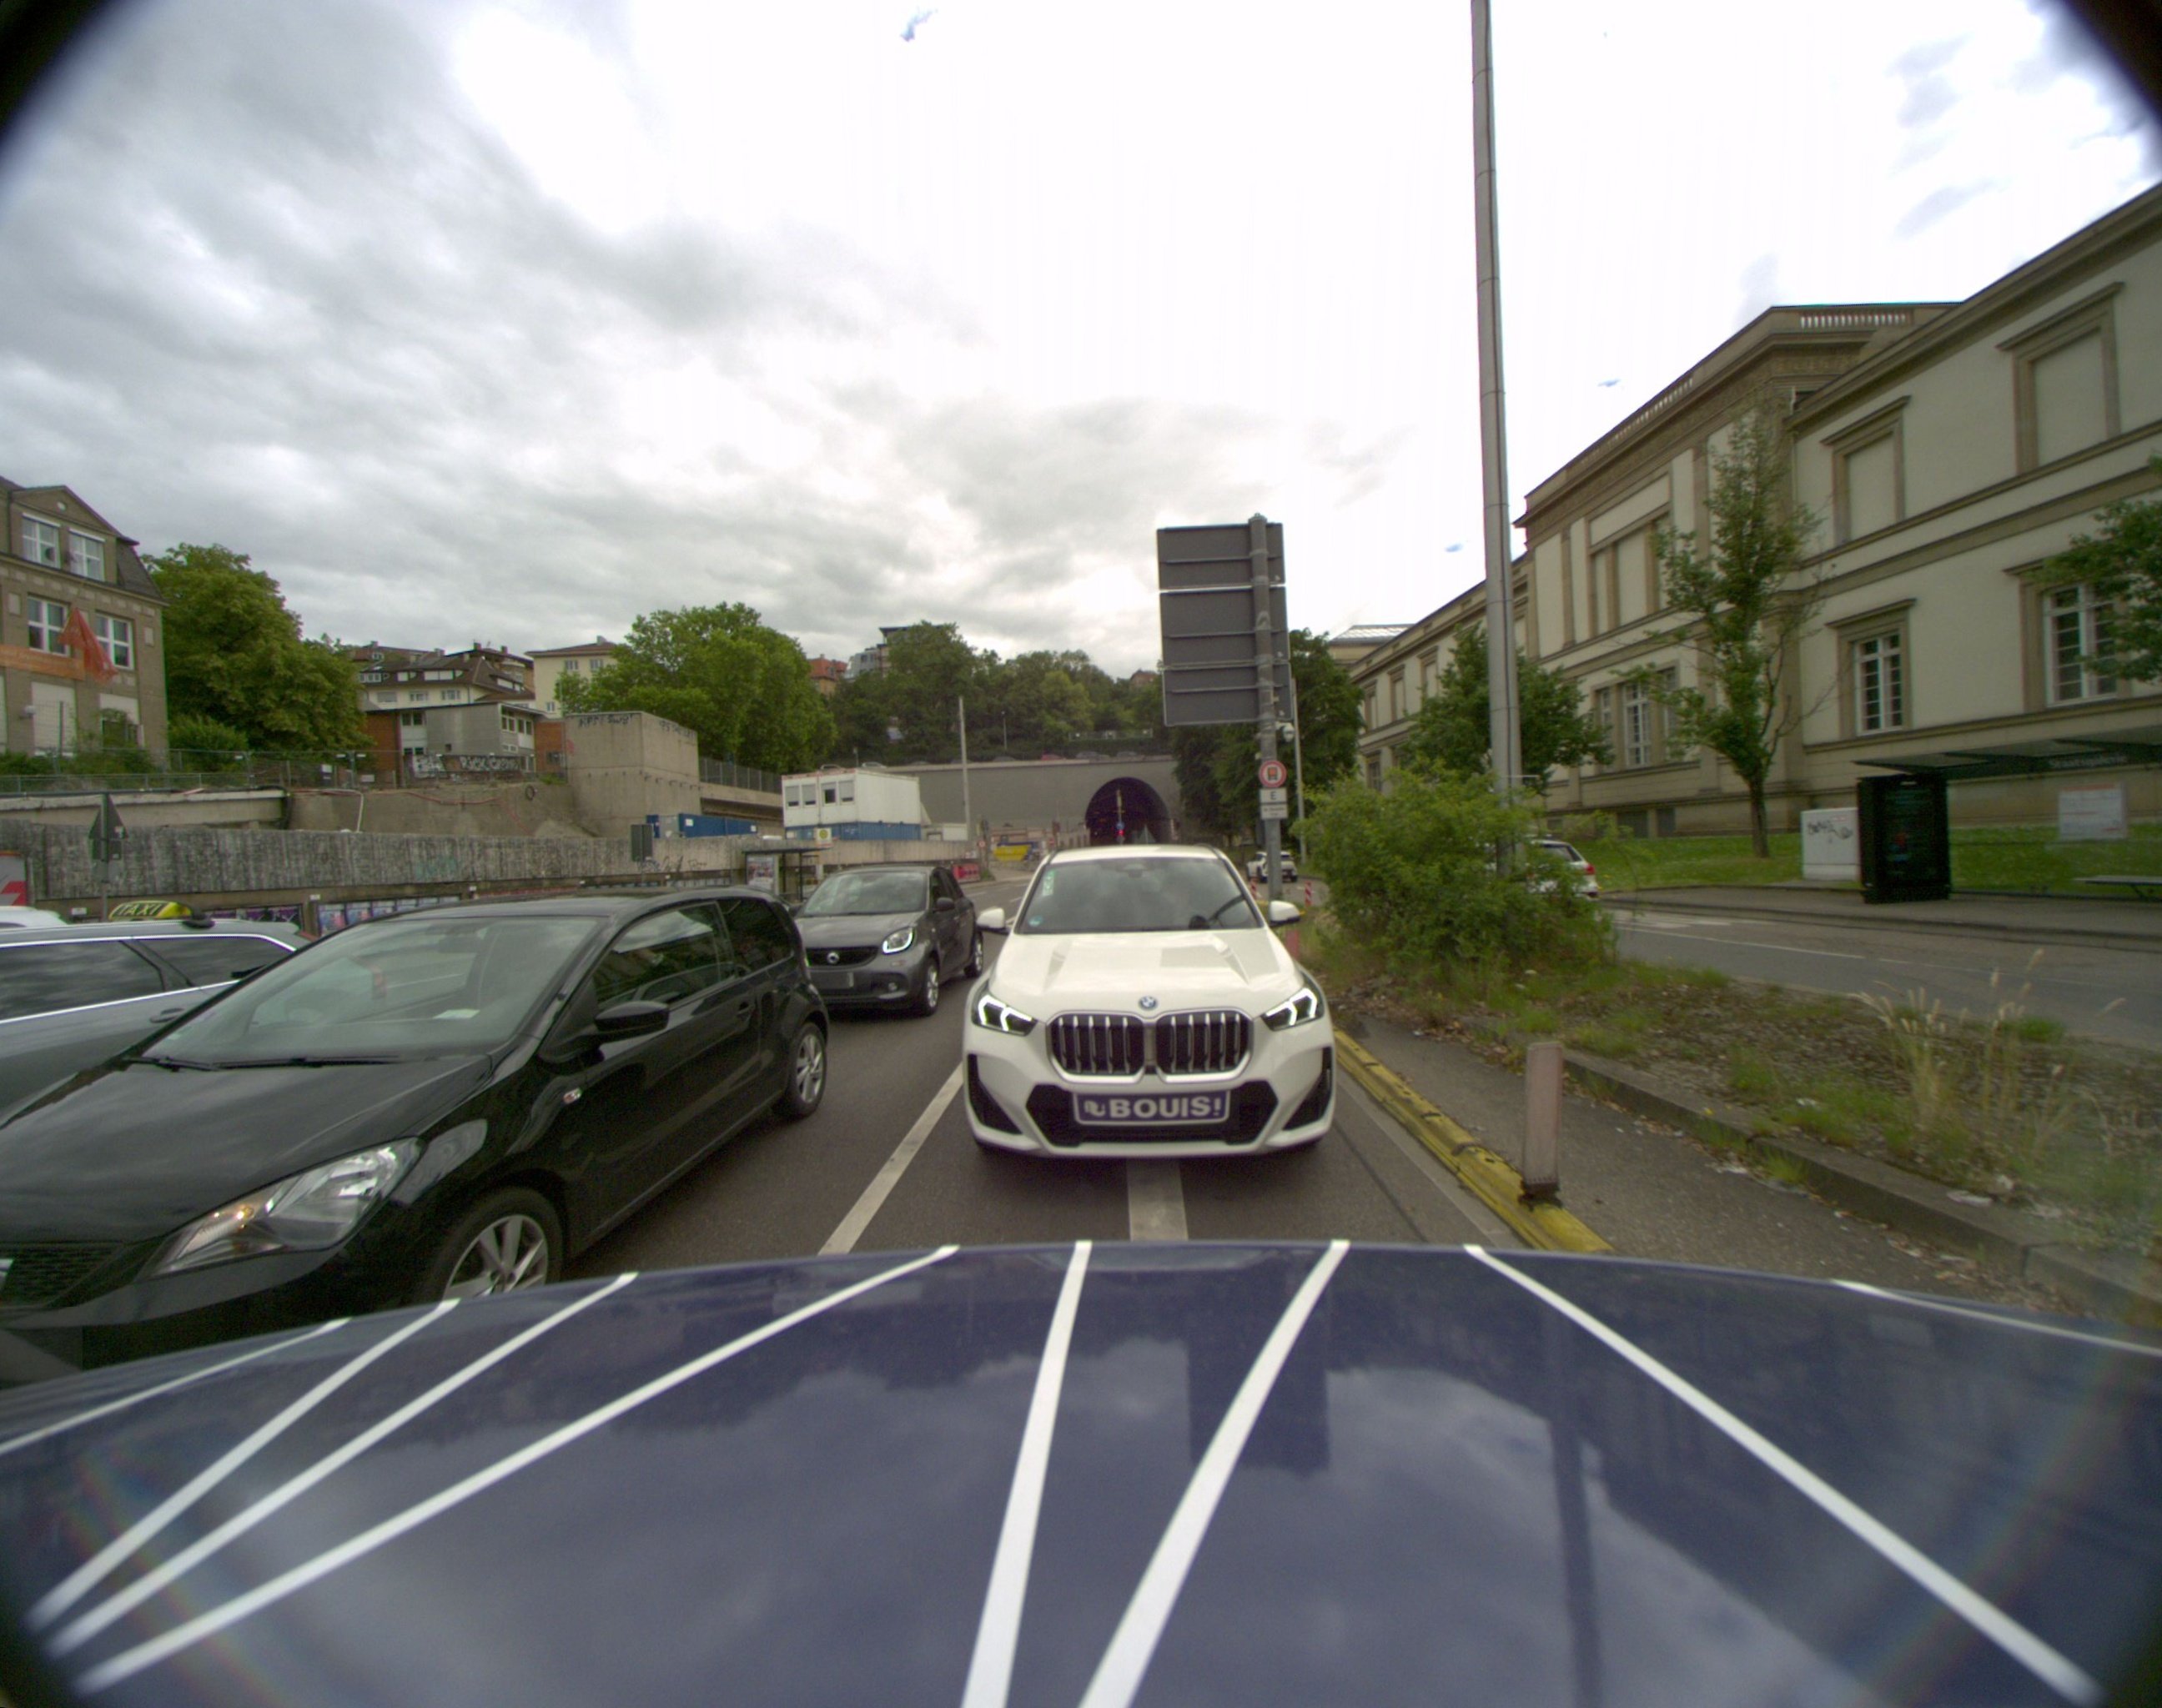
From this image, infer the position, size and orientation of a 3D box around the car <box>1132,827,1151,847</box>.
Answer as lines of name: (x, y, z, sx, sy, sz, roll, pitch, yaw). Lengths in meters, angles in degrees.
car: (7.738, -2.191, 97.863, 2.203, 2.493, 4.758, -2, 1, 2)

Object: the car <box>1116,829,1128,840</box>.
car: (6.884, -3.191, 127.091, 1.946, 1.714, 4.001, -2, 1, 4)

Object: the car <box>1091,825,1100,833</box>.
car: (2.702, -4.622, 143.443, 1.680, 1.358, 3.806, -2, 1, 1)

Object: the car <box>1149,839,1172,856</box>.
car: (7.961, -0.687, 76.219, 1.778, 1.609, 3.802, -2, 1, -1)

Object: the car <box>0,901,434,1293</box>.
car: (-5.854, 1.223, 3.315, 1.829, 1.615, 4.808, -2, 1, 1)

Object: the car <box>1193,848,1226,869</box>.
car: (9.396, 0.327, 55.849, 1.646, 1.469, 3.574, -2, 0, -2)

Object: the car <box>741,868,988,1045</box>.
car: (-2.250, 0.998, 8.903, 1.720, 1.535, 3.575, -2, 0, 2)

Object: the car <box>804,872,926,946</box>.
car: (-4.914, 1.188, 17.824, 1.680, 1.358, 3.806, -2, 1, 1)

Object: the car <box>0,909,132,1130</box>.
car: (-9.104, 1.336, 4.457, 1.680, 1.615, 4.209, -2, 1, 1)

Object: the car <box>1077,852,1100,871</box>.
car: (0.660, 0.573, 61.698, 1.680, 1.450, 3.807, -2, 1, 3)

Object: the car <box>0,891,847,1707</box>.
car: (-2.569, 1.033, 3.354, 1.829, 1.450, 3.700, -2, 1, 1)

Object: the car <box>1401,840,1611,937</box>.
car: (8.195, 0.603, 15.170, 1.903, 1.615, 4.108, -2, 0, 1)

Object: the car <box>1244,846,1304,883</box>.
car: (9.666, 0.484, 38.399, 1.875, 1.681, 4.267, -2, 1, 0)

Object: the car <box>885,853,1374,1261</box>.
car: (0.259, 0.863, 5.017, 1.987, 1.615, 3.670, -2, 1, 2)

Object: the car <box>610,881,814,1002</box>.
car: (-5.390, 1.212, 11.471, 1.665, 1.423, 2.714, -2, 1, 1)

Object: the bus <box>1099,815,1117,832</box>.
bus: (5.632, -6.345, 159.037, 3.171, 3.129, 9.118, -2, 1, -1)
